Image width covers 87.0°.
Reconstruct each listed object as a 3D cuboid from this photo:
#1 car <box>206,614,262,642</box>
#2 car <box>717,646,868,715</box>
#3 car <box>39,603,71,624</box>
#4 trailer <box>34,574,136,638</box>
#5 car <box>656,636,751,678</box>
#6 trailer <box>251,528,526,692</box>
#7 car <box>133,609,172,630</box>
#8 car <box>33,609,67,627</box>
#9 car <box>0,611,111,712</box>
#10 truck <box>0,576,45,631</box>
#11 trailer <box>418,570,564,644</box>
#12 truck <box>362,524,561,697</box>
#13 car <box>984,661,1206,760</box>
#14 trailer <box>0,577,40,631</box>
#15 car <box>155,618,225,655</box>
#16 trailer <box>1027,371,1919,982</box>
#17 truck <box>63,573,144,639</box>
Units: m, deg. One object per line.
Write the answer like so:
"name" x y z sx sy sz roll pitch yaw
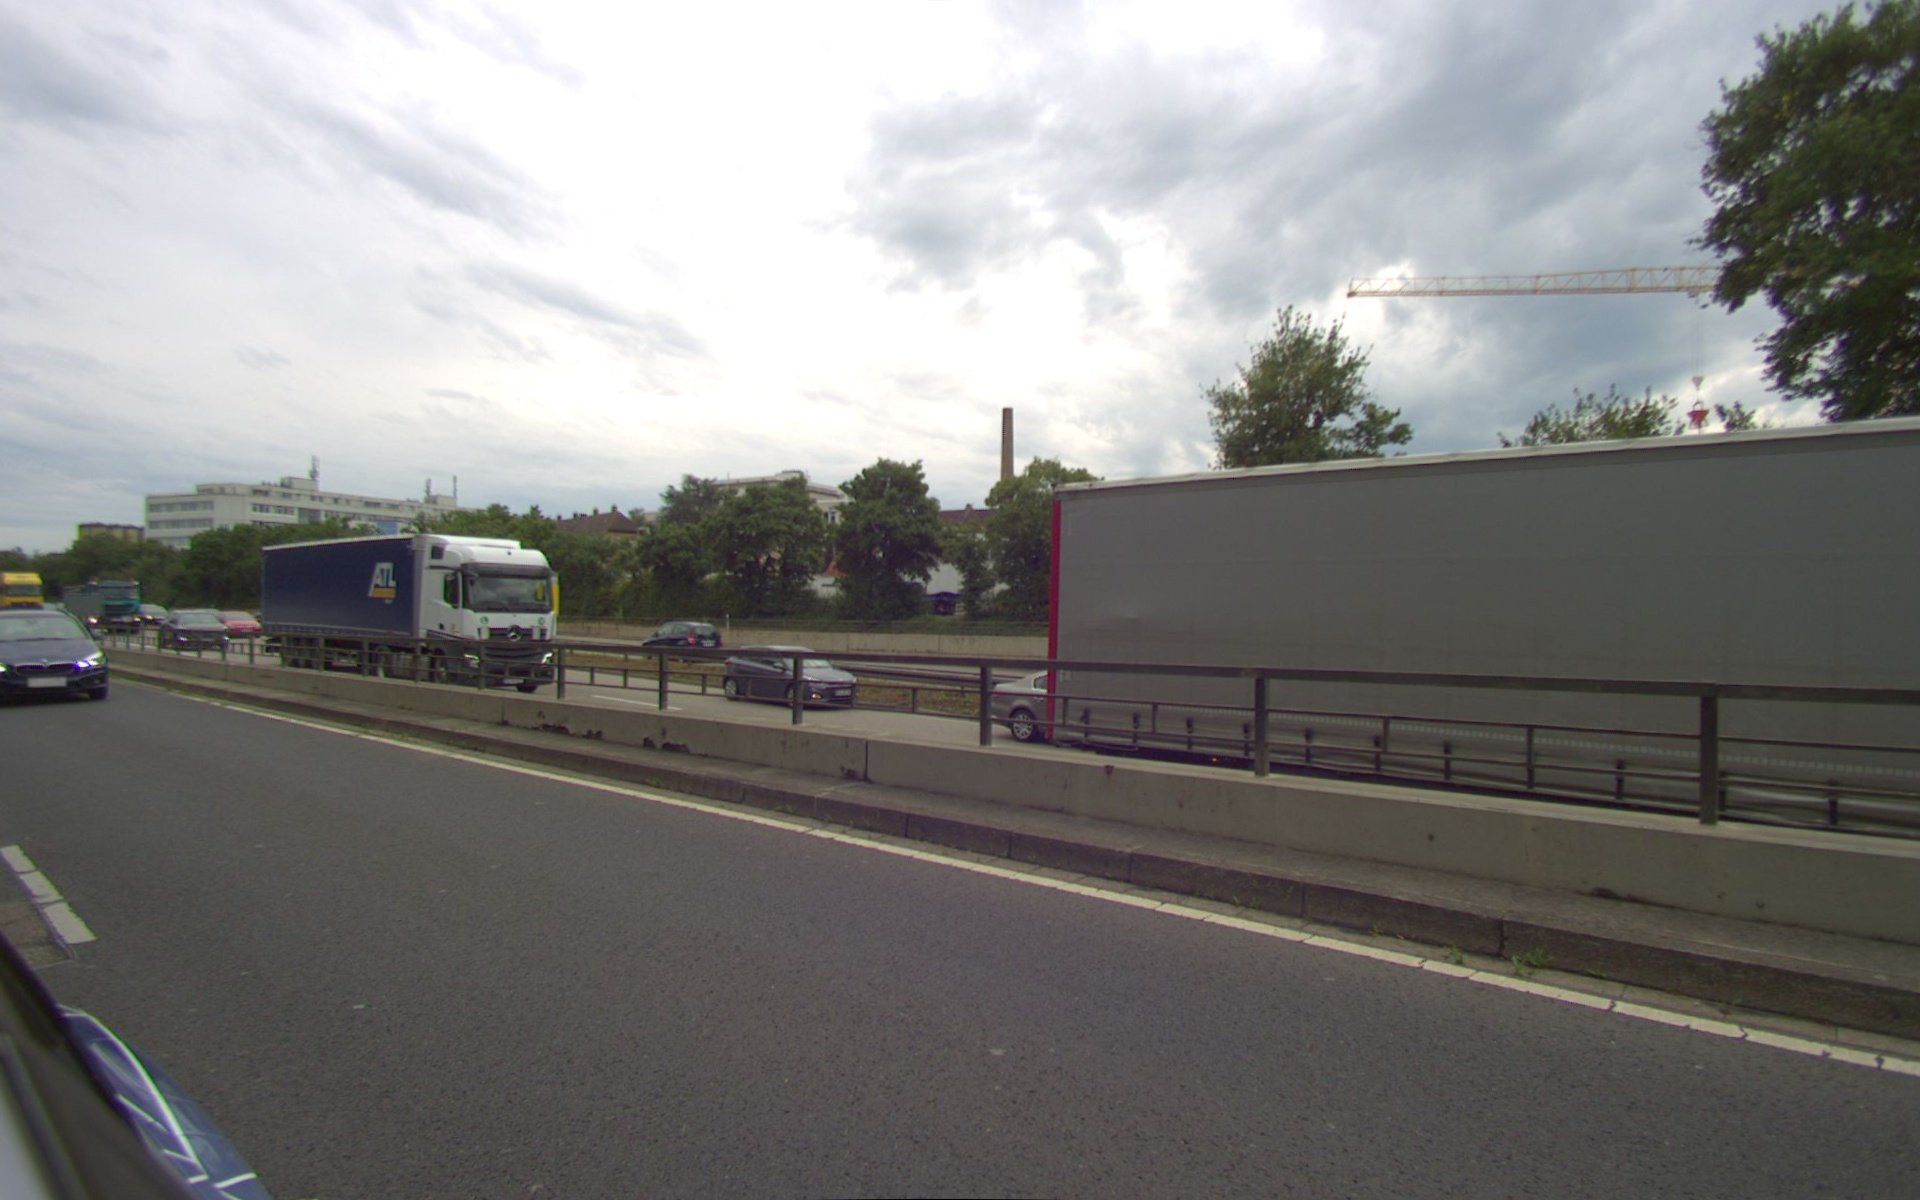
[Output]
"car" -39.680 1.511 55.282 3.998 1.452 1.607 -1 0 41
"car" -4.227 1.947 25.217 3.895 1.452 1.606 0 -2 41
"car" -93.192 1.391 104.171 3.999 2.029 1.973 -1 0 42
"trailer" -55.919 0.431 64.416 16.742 3.668 2.580 0 -2 41
"car" -9.939 2.182 39.126 3.894 1.452 1.607 0 -2 40
"trailer" -17.937 0.316 30.847 14.777 4.067 2.498 0 -2 41
"car" -59.524 1.415 74.571 3.998 1.452 1.607 -1 0 41
"car" -84.160 1.656 93.581 4.420 1.575 1.761 -1 0 41
"car" -16.452 0.991 17.737 4.420 1.575 1.761 -1 0 41
"truck" -77.624 0.339 83.067 6.516 4.377 2.856 0 -2 41
"trailer" -28.682 0.455 61.347 13.769 4.067 2.498 0 -2 41
"truck" -13.266 0.280 26.732 6.094 4.067 2.498 0 -2 41
"car" 2.455 1.974 18.967 3.895 1.452 1.606 -1 0 42
"trailer" -84.455 0.381 89.034 19.913 4.387 2.860 0 -2 41
"car" -32.940 1.513 43.251 3.998 1.452 1.607 -1 0 41
"trailer" 7.106 0.532 7.882 14.548 4.067 2.623 0 -2 41
"truck" -50.603 0.376 59.725 6.664 3.663 2.611 0 -2 41
